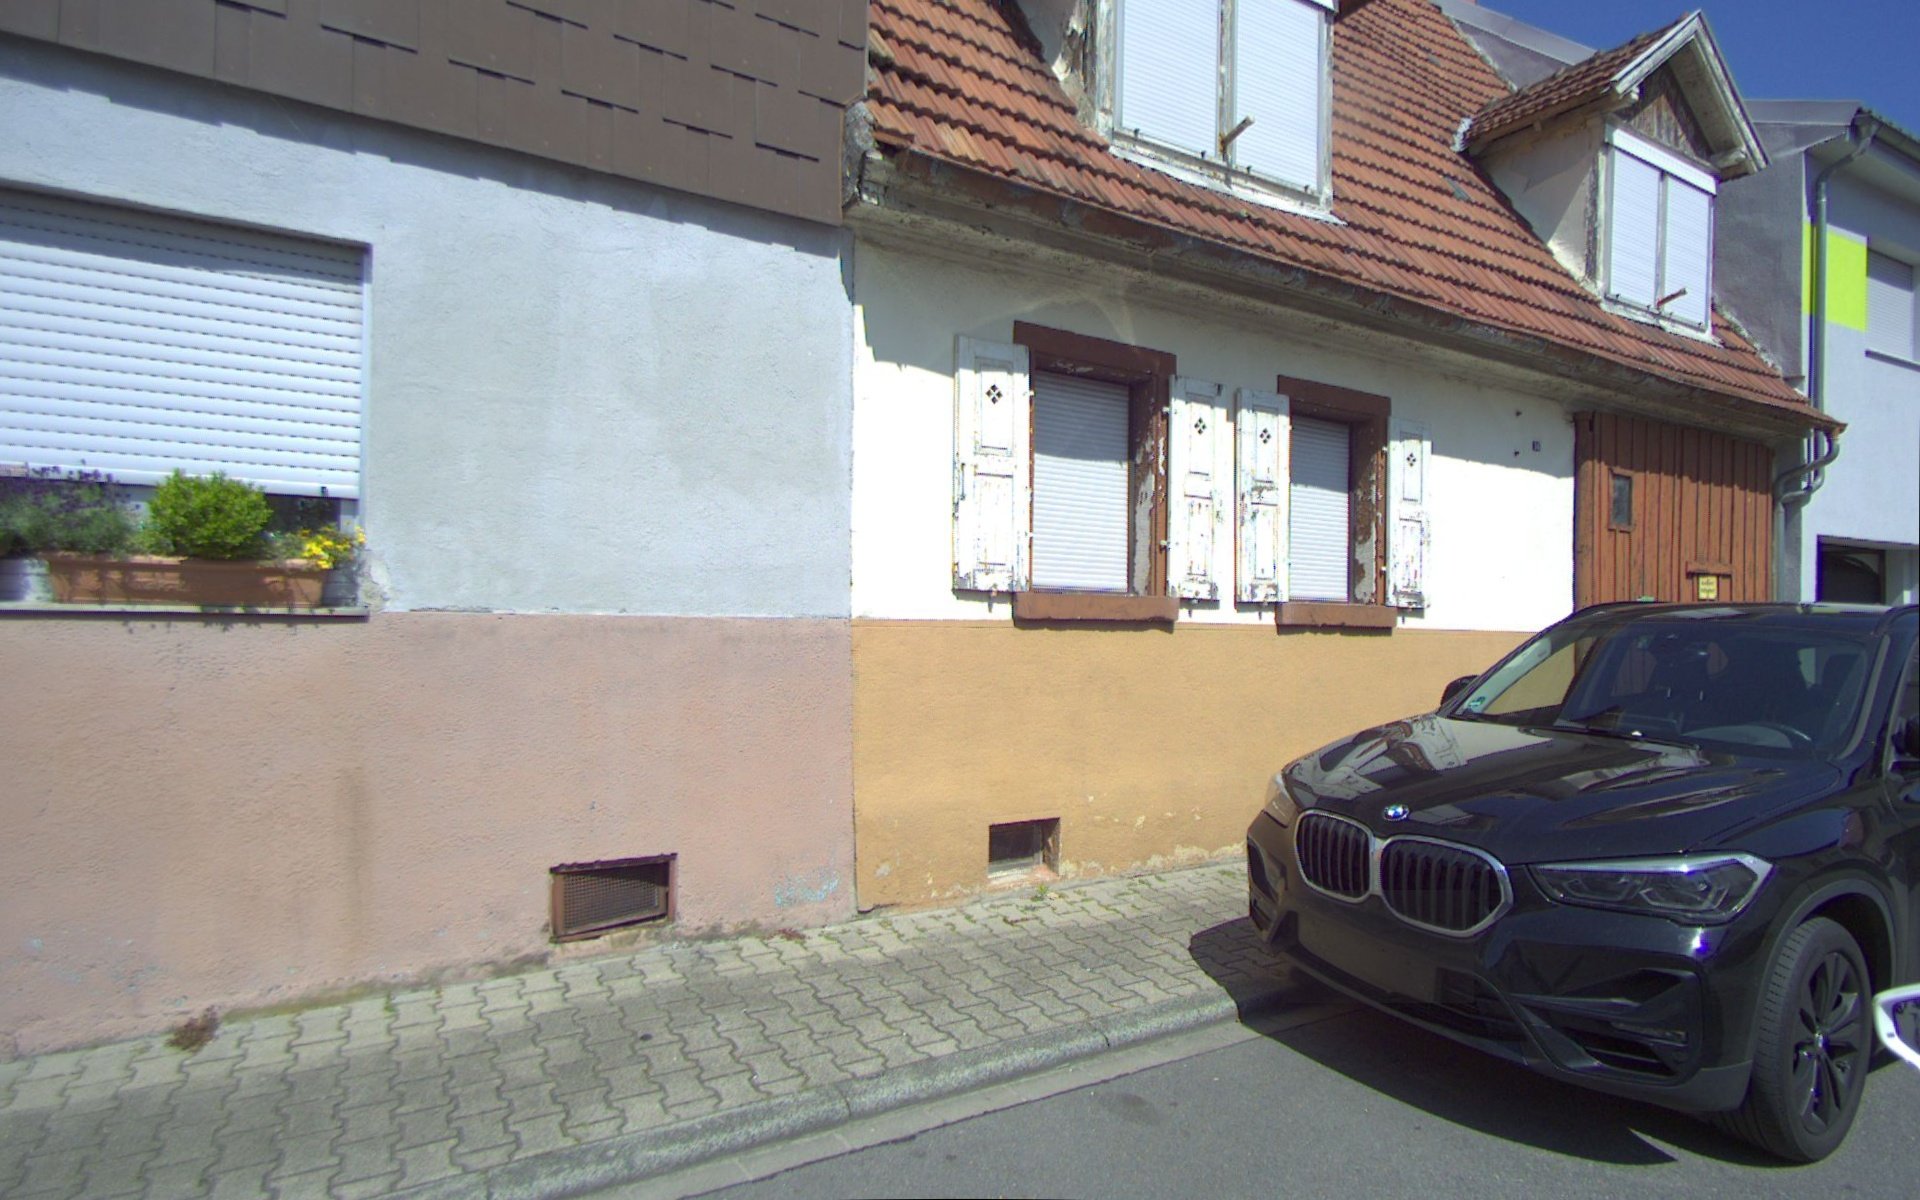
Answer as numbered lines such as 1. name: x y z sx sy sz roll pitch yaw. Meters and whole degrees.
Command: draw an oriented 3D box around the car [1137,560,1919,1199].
1. car: 3.094 0.786 4.114 4.558 1.595 1.792 2 -2 -29
